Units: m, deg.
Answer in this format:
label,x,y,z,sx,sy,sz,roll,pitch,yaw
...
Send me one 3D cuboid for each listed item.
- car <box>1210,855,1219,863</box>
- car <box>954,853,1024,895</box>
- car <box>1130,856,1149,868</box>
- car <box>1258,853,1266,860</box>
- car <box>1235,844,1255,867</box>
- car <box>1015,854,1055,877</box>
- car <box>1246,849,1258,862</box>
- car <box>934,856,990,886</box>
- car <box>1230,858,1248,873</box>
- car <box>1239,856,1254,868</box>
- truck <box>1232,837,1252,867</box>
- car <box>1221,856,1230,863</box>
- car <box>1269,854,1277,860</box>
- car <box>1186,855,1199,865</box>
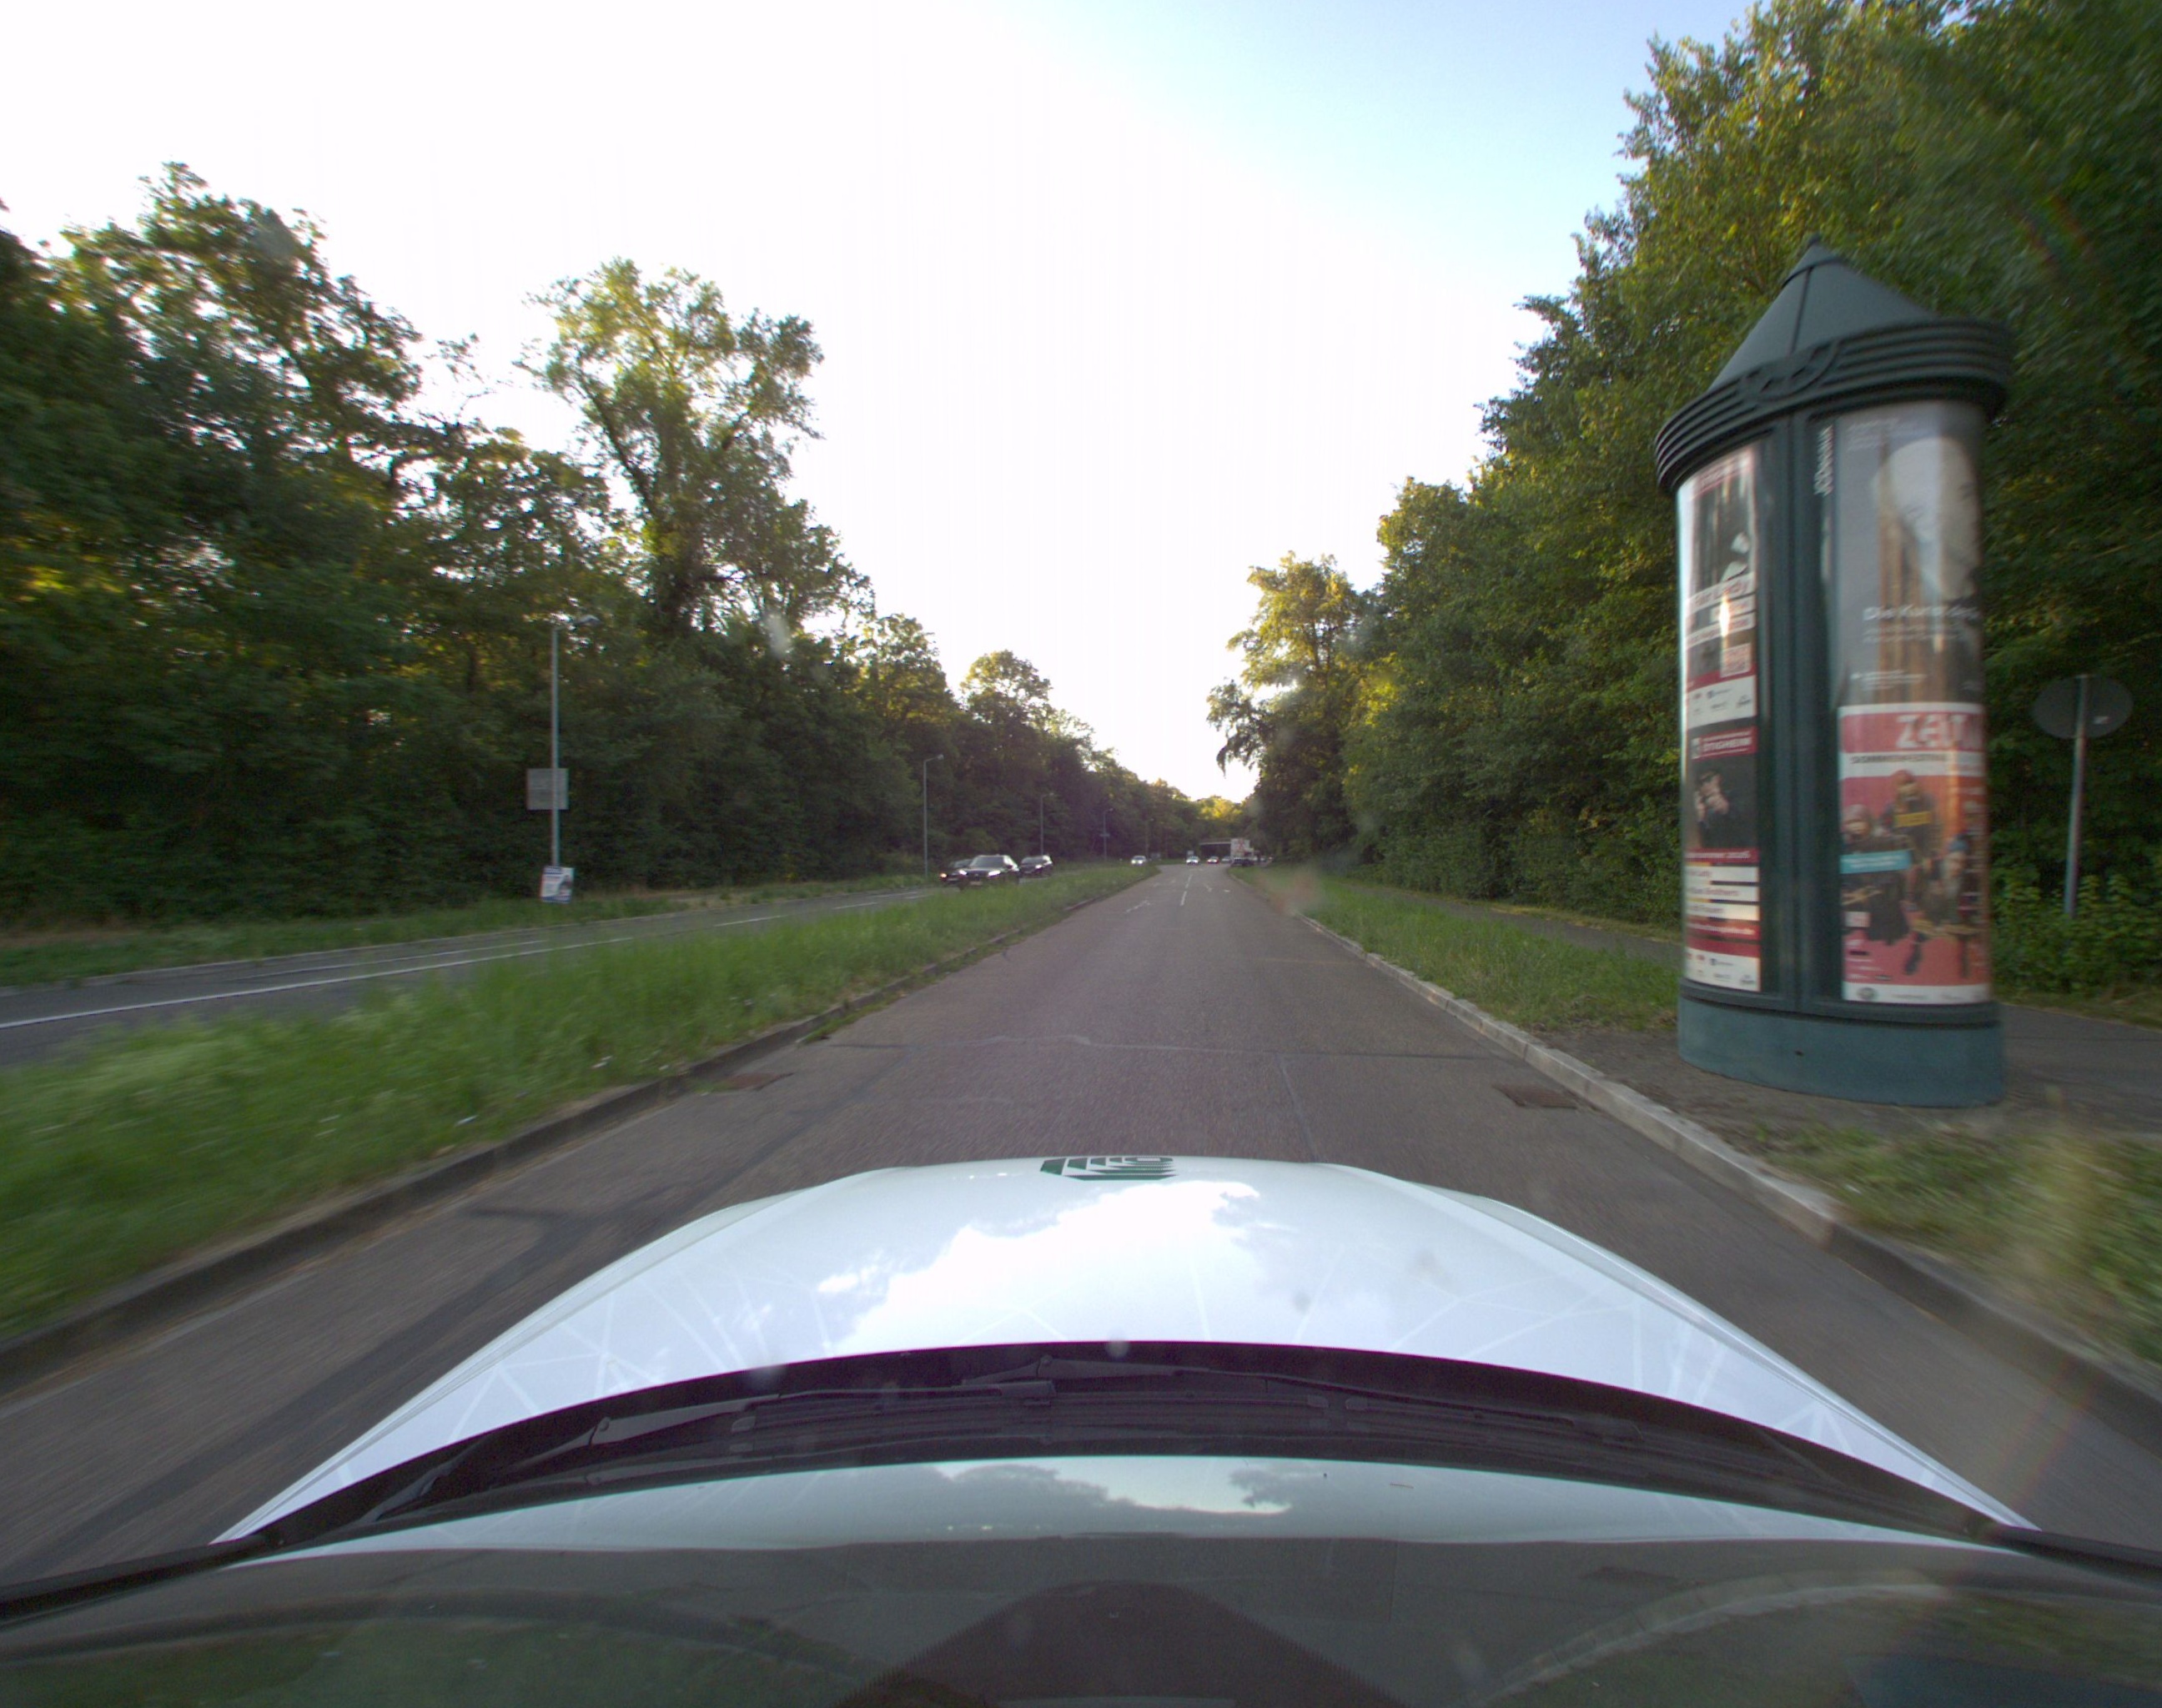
label,x,y,z,sx,sy,sz,roll,pitch,yaw
car,27.332,1.035,166.624,1.704,1.446,4.187,0,0,12
car,-3.795,0.793,34.410,1.803,1.627,4.461,-2,-1,8
car,7.785,1.029,108.119,1.981,1.458,3.820,-1,-2,10
car,47.789,0.727,215.186,1.979,1.838,4.015,-1,0,14
car,21.557,0.196,107.155,2.394,2.858,5.947,0,0,9
car,-3.354,0.832,60.143,1.982,1.627,4.662,-2,-1,8
car,34.480,0.385,163.895,1.979,2.410,5.846,-1,-2,15
car,-6.435,0.907,44.491,1.813,1.480,4.242,-2,-1,8
car,15.720,1.114,81.140,1.653,1.405,3.954,2,0,11
car,20.462,0.948,100.655,1.688,1.406,4.086,0,0,9
truck,22.859,-0.224,115.347,2.640,4.027,9.753,0,0,12
car,32.199,1.261,181.570,1.708,1.397,4.390,0,0,13
car,49.051,0.854,207.828,1.878,1.447,4.125,-1,0,14
car,19.340,1.046,141.239,1.824,1.507,3.950,-1,-2,11
